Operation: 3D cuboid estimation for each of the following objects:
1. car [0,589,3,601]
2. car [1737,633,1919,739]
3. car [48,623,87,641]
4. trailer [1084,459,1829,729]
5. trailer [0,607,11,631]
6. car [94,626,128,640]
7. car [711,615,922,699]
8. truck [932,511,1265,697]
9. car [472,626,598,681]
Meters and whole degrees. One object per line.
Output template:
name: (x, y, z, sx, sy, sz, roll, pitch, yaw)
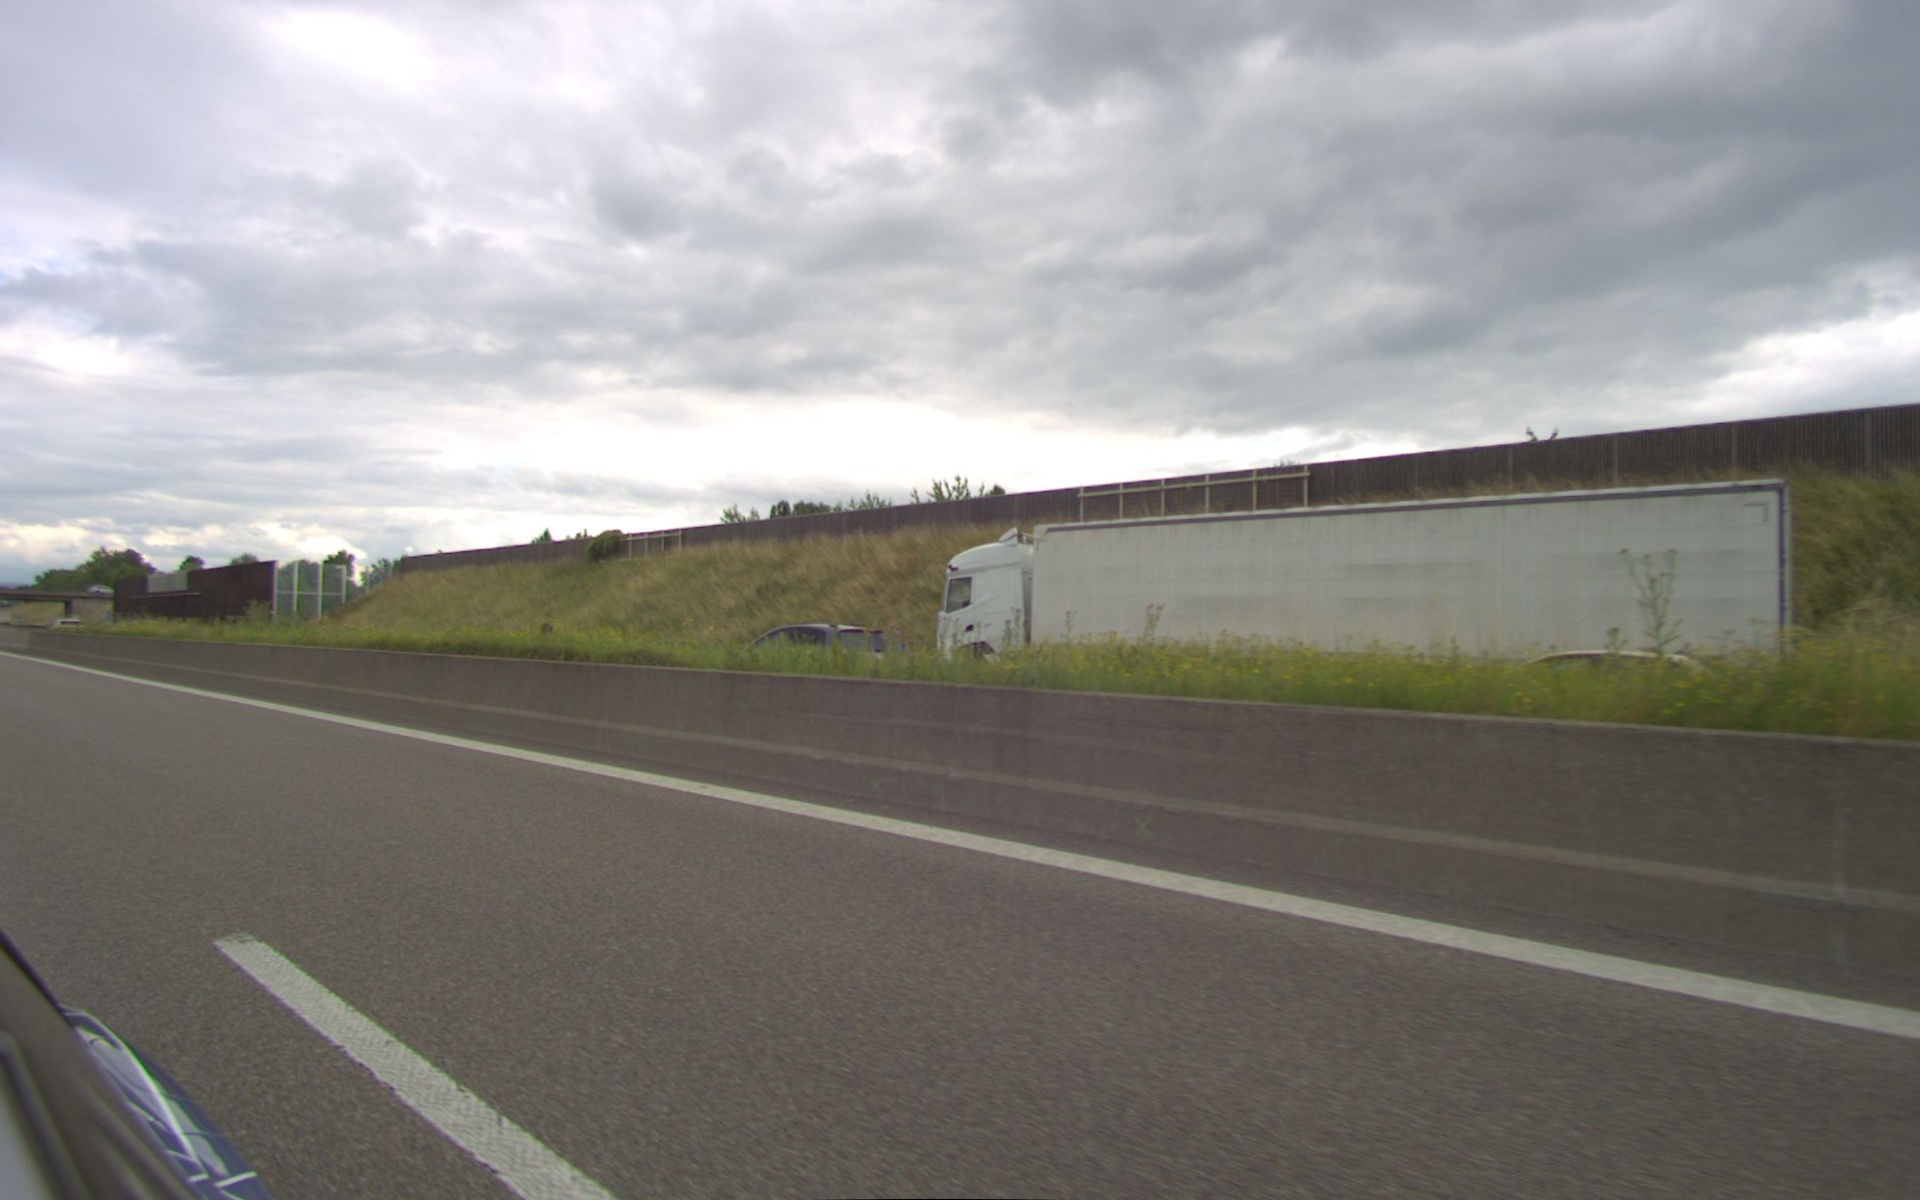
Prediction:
car: (-161.112, -0.774, 167.275, 1.994, 2.029, 3.955, -1, 0, 33)
car: (11.171, 0.916, 10.905, 4.331, 1.040, 1.844, -1, 0, 41)
car: (-66.916, 2.376, 75.849, 3.697, 1.281, 1.693, -1, 0, 41)
trailer: (8.178, 0.067, 18.998, 12.259, 3.705, 2.747, -1, -3, 42)
trailer: (-166.940, 3.395, 174.570, 12.674, 4.010, 3.633, -1, 0, 42)
car: (-88.027, 3.419, 104.962, 4.938, 1.374, 1.973, -1, 0, 41)
car: (-2.752, 1.004, 19.055, 3.745, 1.374, 1.973, -1, 0, 41)
truck: (3.001, 0.187, 23.615, 7.486, 3.705, 2.697, -1, -3, 42)
car: (-13.028, 1.581, 30.946, 3.998, 1.525, 1.973, -1, 0, 41)
